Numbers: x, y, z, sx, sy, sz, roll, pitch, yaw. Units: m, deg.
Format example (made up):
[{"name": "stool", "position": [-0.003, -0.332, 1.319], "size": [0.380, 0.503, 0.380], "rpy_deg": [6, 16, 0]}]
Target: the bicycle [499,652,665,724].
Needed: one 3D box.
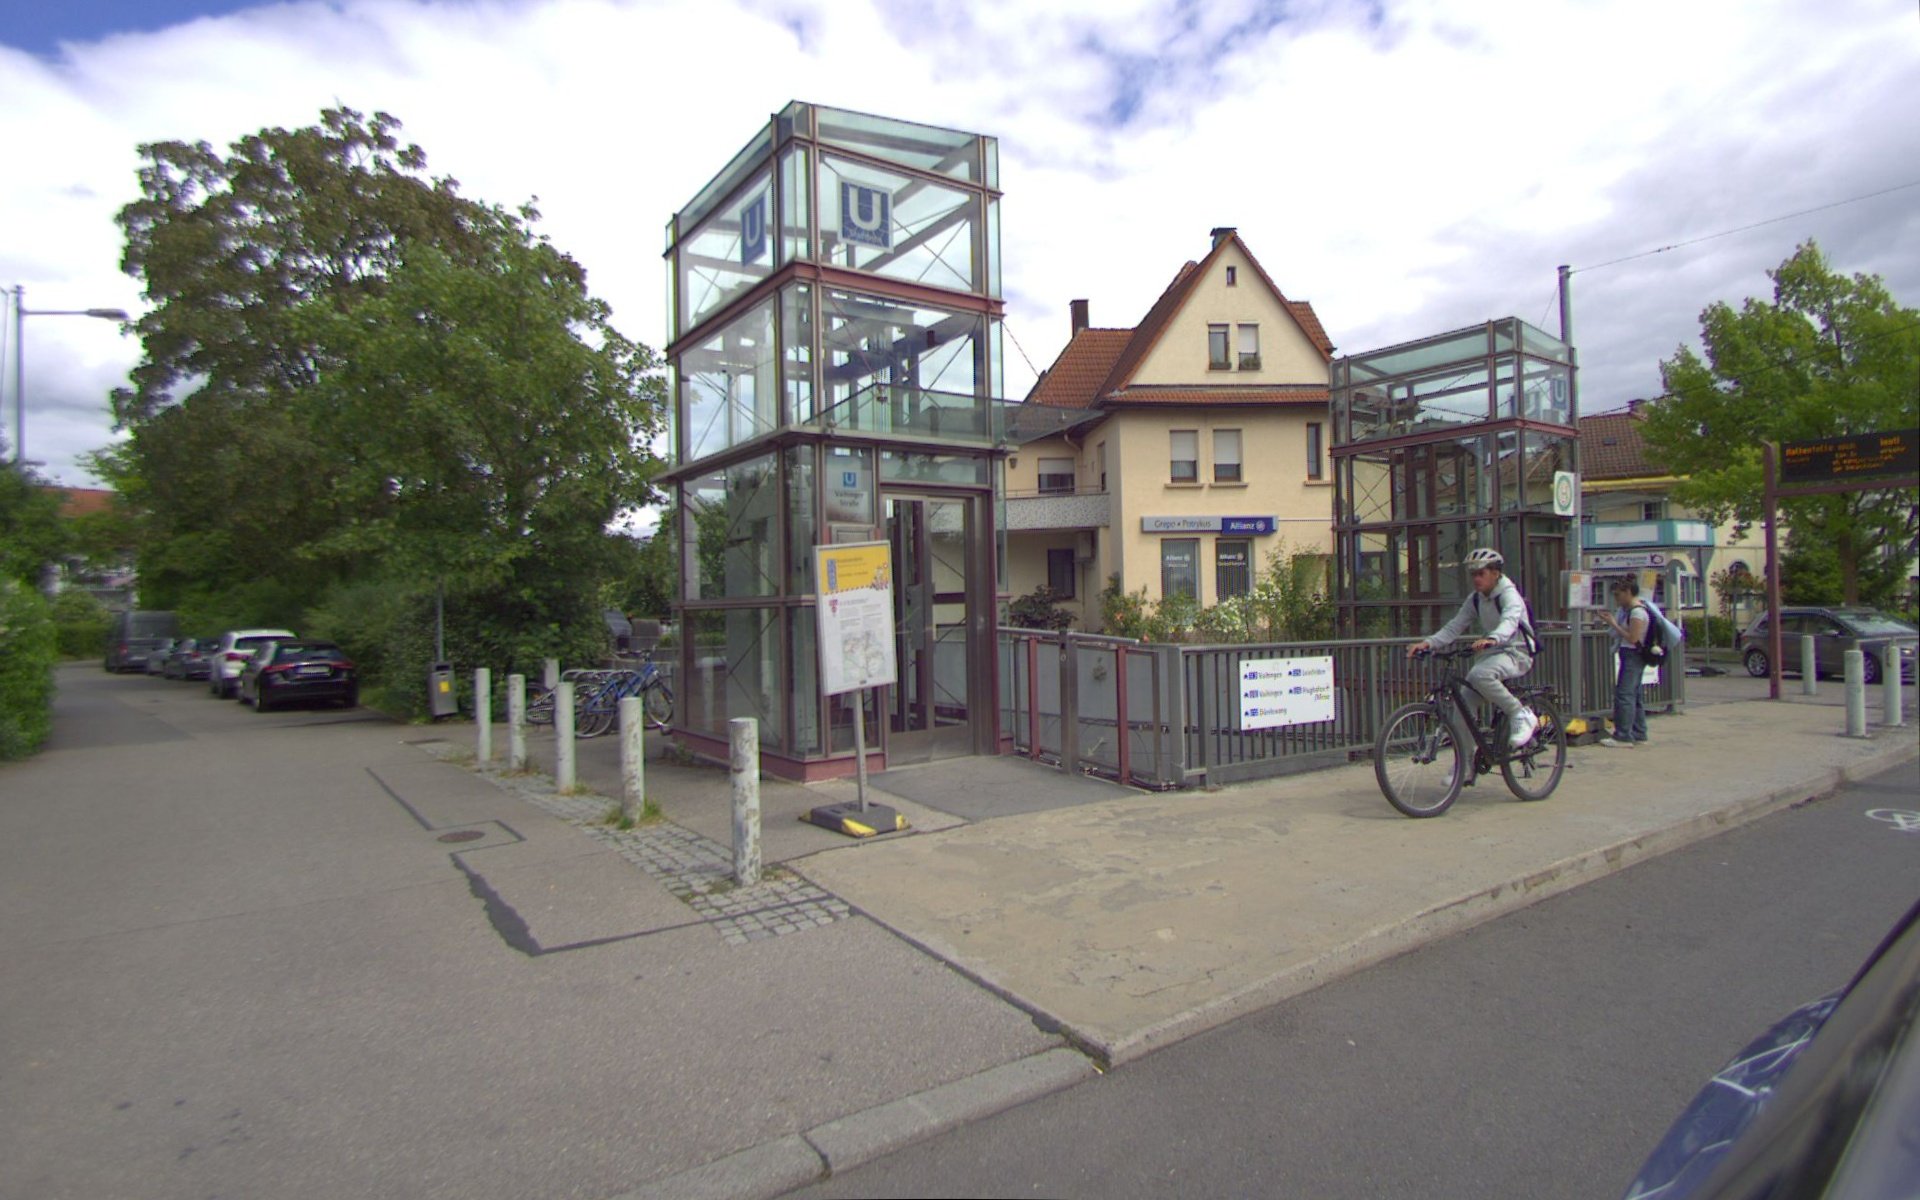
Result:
[{"name": "bicycle", "position": [-6.023, 1.377, 16.211], "size": [2.423, 0.993, 0.568], "rpy_deg": [-1, -1, -35]}]

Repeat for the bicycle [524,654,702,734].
[{"name": "bicycle", "position": [-5.081, 1.354, 14.946], "size": [2.423, 0.993, 0.568], "rpy_deg": [-1, -1, -35]}]

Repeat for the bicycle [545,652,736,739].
[{"name": "bicycle", "position": [-4.322, 1.263, 13.818], "size": [2.423, 0.993, 0.568], "rpy_deg": [-1, -1, -35]}]

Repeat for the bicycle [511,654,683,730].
[{"name": "bicycle", "position": [-5.554, 1.383, 15.596], "size": [2.423, 0.993, 0.568], "rpy_deg": [-1, -1, -35]}]

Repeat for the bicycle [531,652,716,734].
[{"name": "bicycle", "position": [-4.741, 1.284, 14.367], "size": [2.423, 0.993, 0.568], "rpy_deg": [-1, -1, -35]}]

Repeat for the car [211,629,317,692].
[{"name": "car", "position": [-17.519, 1.443, 25.385], "size": [1.964, 1.394, 3.996], "rpy_deg": [0, -1, -38]}]

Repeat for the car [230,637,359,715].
[{"name": "car", "position": [-14.105, 1.517, 21.349], "size": [1.964, 1.394, 3.996], "rpy_deg": [0, -1, -38]}]

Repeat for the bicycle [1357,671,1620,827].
[{"name": "bicycle", "position": [3.415, 0.884, 6.457], "size": [2.023, 0.763, 0.637], "rpy_deg": [0, -2, -36]}]

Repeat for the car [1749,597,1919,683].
[{"name": "car", "position": [19.051, 0.809, 21.225], "size": [1.834, 1.646, 3.997], "rpy_deg": [-1, -2, 1]}]

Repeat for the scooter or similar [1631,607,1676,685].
[{"name": "scooter or similar", "position": [10.251, 0.688, 14.952], "size": [0.928, 1.126, 0.216], "rpy_deg": [4, -2, -34]}]

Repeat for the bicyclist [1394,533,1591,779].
[{"name": "bicyclist", "position": [3.438, 0.332, 6.524], "size": [1.156, 1.434, 0.658], "rpy_deg": [1, -2, -36]}]

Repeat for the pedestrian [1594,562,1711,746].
[{"name": "pedestrian", "position": [6.282, 0.497, 9.200], "size": [0.394, 1.603, 0.599], "rpy_deg": [-2, -5, -35]}]

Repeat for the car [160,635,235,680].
[{"name": "car", "position": [-26.037, 1.912, 34.531], "size": [1.964, 1.394, 3.996], "rpy_deg": [0, -1, -38]}]

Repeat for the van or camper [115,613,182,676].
[{"name": "van or camper", "position": [-33.643, 1.799, 42.028], "size": [2.084, 2.429, 4.452], "rpy_deg": [0, -1, -38]}]
